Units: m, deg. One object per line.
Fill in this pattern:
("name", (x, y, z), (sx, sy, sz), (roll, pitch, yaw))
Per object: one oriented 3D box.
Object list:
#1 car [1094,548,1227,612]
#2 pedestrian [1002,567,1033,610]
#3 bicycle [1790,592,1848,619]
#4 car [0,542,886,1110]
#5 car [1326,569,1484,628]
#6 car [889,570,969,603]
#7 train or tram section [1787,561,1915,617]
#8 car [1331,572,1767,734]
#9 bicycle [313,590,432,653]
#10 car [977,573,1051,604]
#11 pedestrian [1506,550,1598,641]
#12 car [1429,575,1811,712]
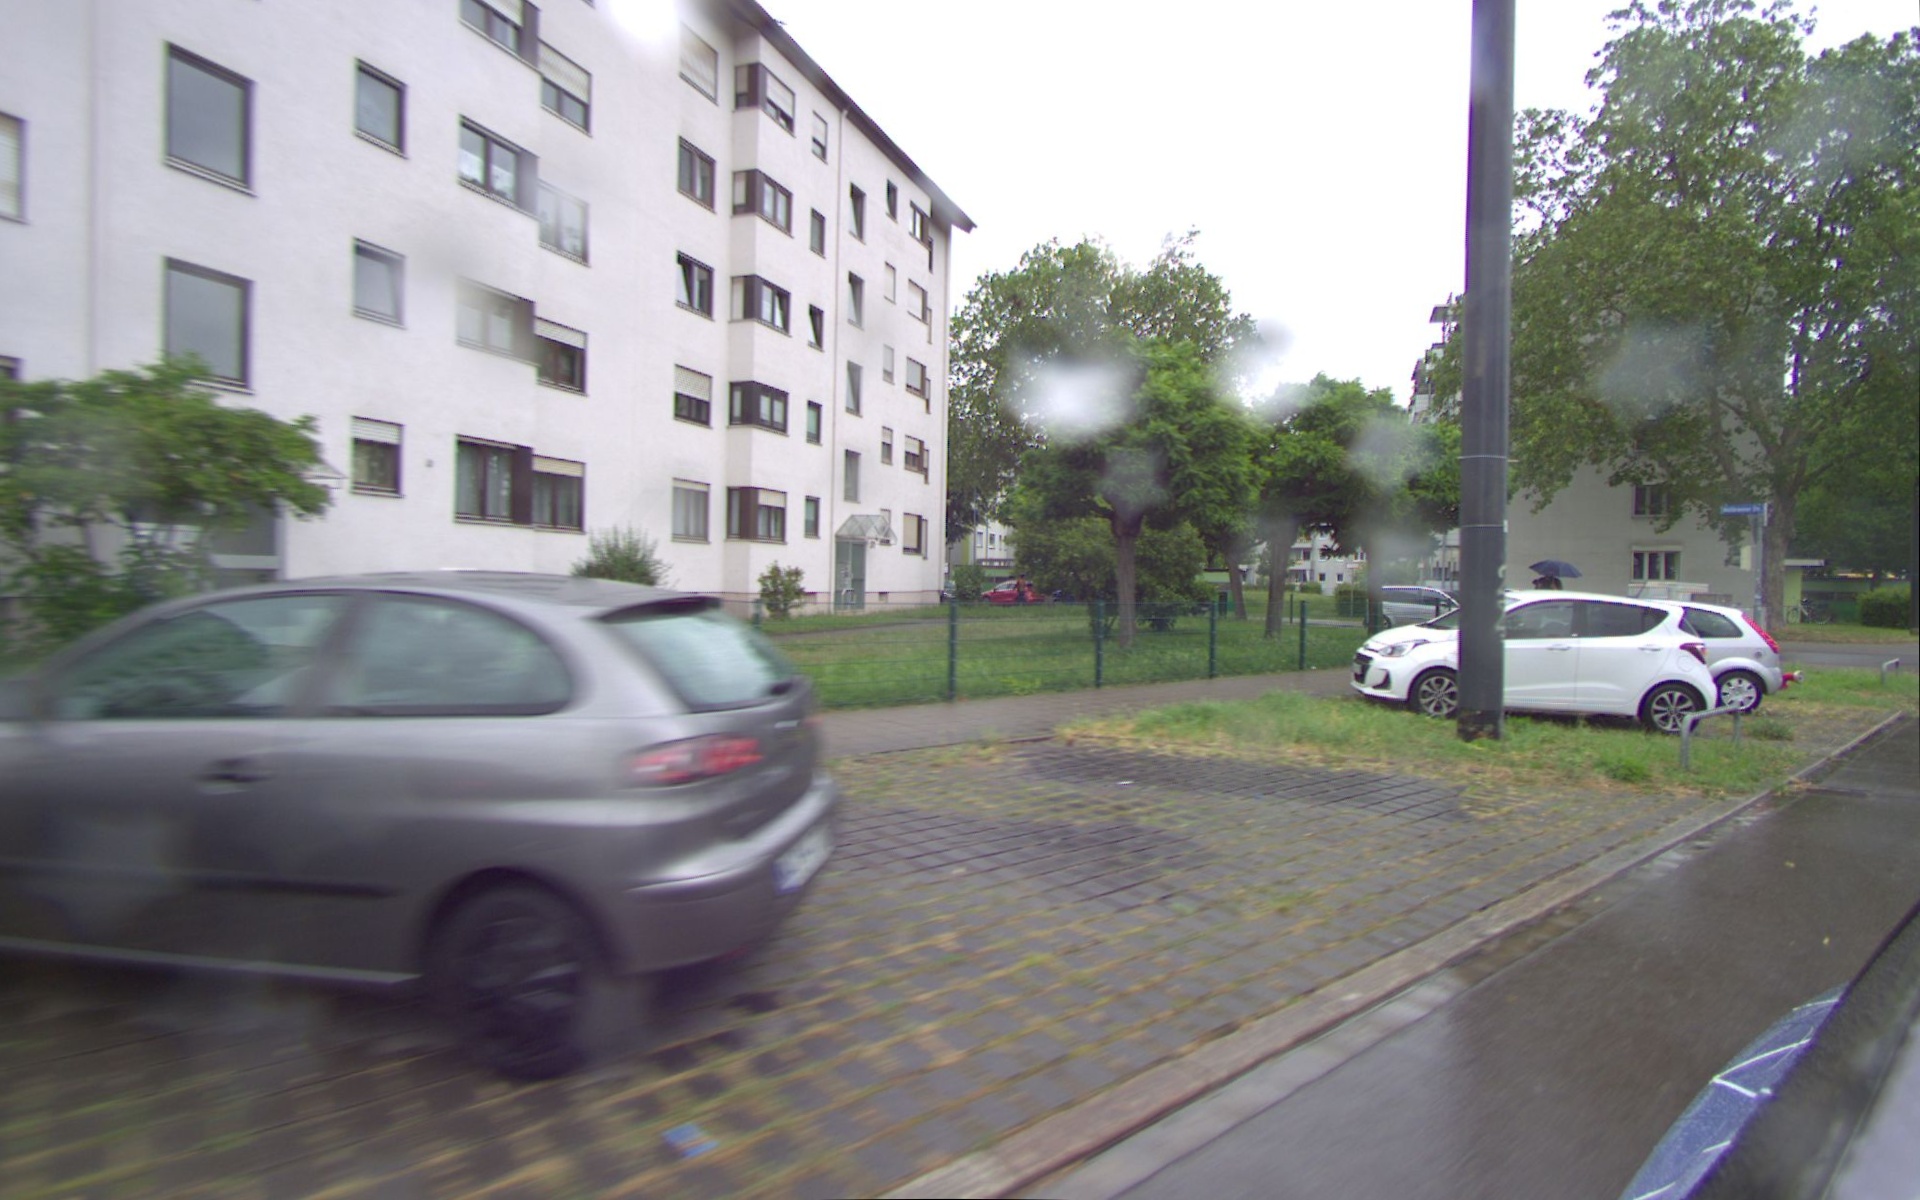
("car", (9.265, -0.964, 47.330), (2.147, 2.813, 6.136), (0, 2, -38))
("pedestrian", (2.458, -0.504, 43.390), (0.708, 1.791, 1.179), (0, 1, -43))
("bicycle", (38.124, 0.223, 44.936), (1.841, 1.156, 0.529), (2, 0, 25))
("car", (-2.407, 0.540, 3.847), (3.935, 1.446, 1.730), (2, 1, 10))
("car", (14.307, -0.114, 32.738), (1.837, 1.701, 4.305), (0, 2, -38))
("car", (-1.598, -0.706, 51.060), (1.656, 1.524, 4.301), (0, 2, -41))
("train or tram section", (57.191, -0.761, 65.198), (2.708, 3.381, 6.395), (2, 2, 4))
("car", (6.562, 0.523, 11.743), (3.937, 1.526, 1.701), (2, 4, 11))
("bicycle", (-8.793, 0.300, 15.202), (0.486, 0.858, 1.559), (2, 2, 24))
("car", (2.853, -0.642, 54.098), (1.708, 1.524, 4.003), (0, 2, -38))
("pedestrian", (12.404, -0.103, 21.215), (1.405, 1.836, 1.104), (0, 1, -30))
("car", (8.824, 0.510, 13.936), (3.942, 1.526, 1.777), (2, 4, 15))
